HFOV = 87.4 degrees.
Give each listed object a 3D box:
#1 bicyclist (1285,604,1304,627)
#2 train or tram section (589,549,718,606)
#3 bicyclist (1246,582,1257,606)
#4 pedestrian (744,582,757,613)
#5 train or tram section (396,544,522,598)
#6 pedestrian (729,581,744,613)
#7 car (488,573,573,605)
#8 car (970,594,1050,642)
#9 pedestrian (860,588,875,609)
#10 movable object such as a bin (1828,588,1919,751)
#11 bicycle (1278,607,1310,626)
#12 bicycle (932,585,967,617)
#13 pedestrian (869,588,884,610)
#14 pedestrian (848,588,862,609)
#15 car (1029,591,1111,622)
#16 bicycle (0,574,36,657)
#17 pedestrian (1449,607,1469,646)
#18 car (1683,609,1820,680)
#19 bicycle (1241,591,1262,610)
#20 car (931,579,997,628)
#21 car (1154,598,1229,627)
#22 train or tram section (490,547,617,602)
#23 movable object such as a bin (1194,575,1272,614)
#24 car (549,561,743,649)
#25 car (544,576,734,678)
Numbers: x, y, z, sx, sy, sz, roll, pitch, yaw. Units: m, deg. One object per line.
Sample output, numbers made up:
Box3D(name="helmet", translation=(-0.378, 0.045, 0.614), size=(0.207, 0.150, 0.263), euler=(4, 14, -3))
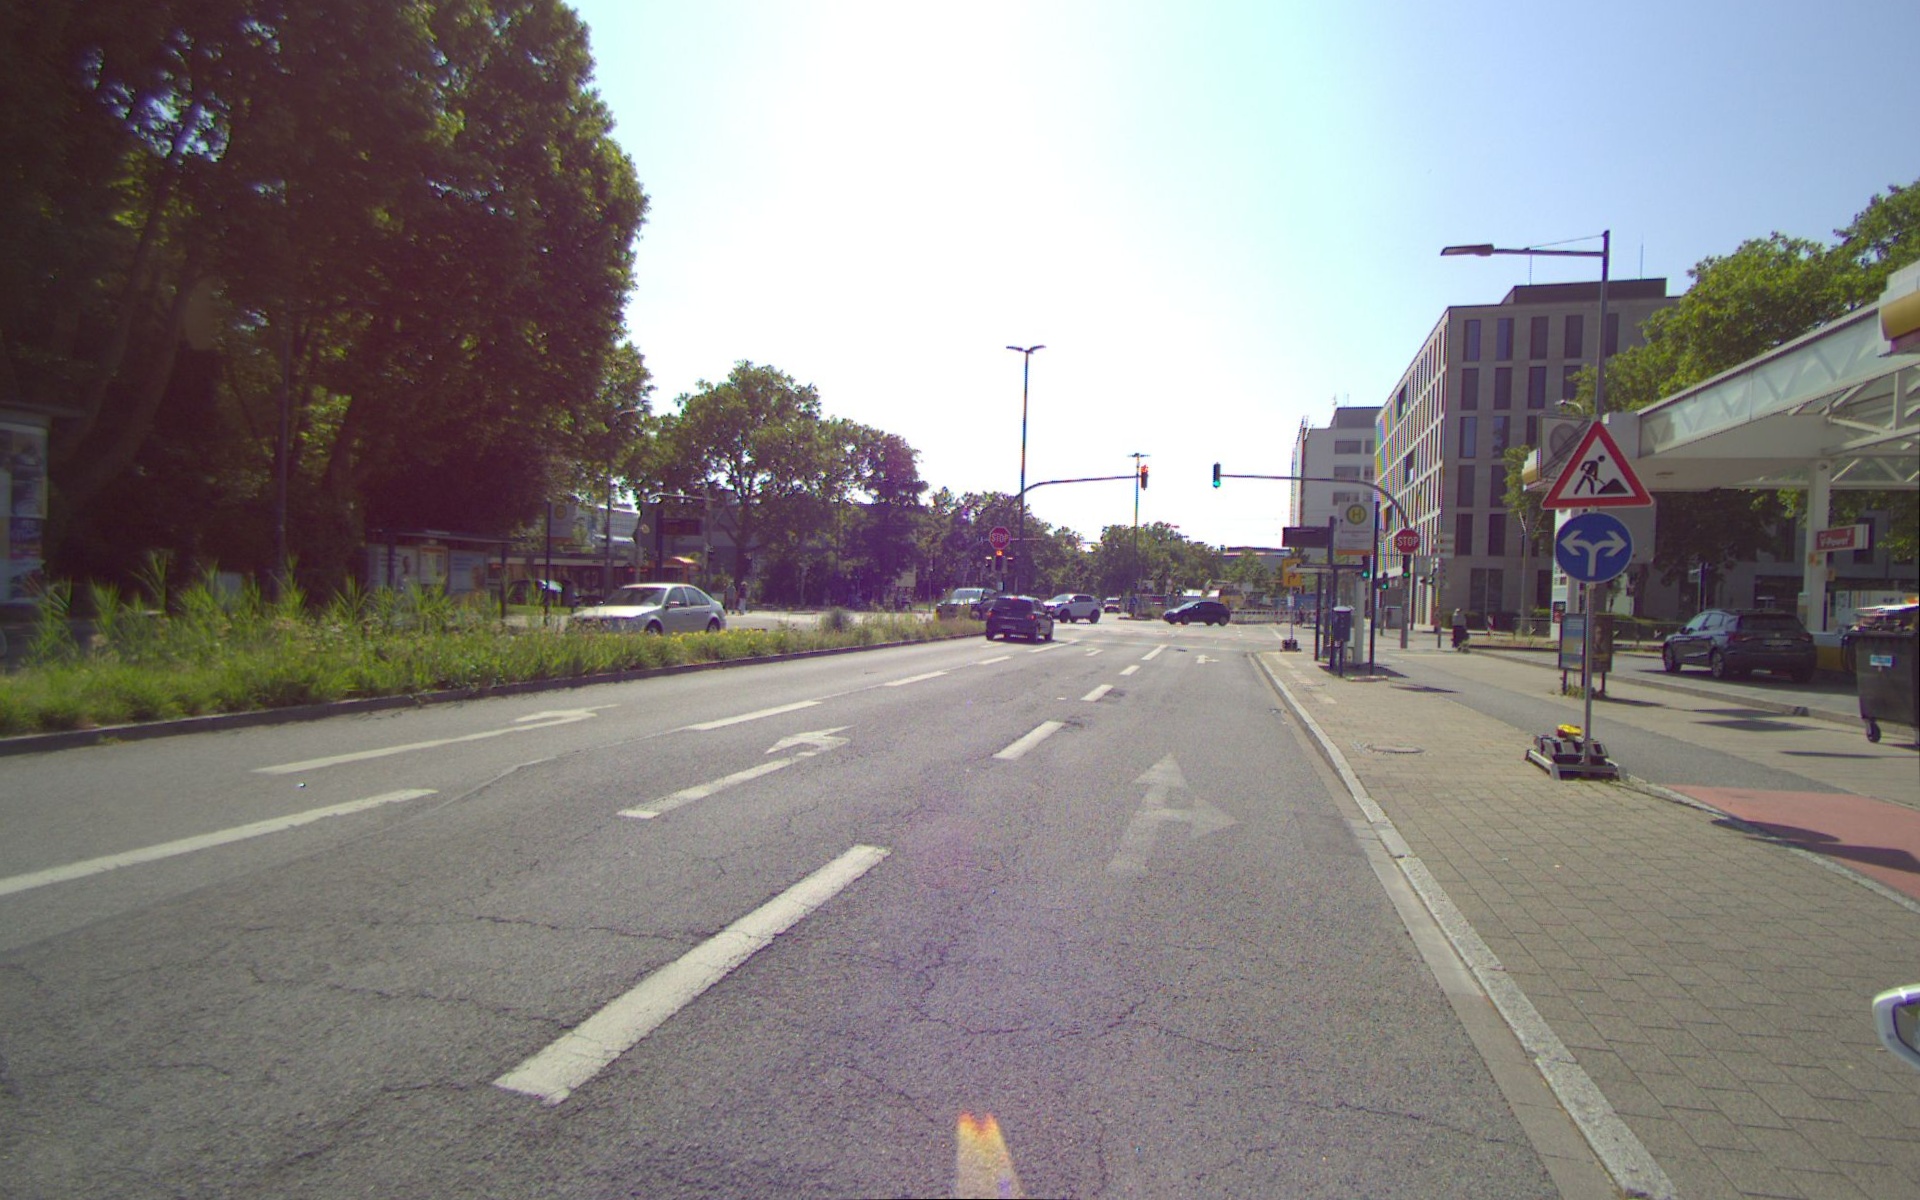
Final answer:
Box3D(name="bicyclist", translation=(25.292, 1.179, 75.932), size=(1.220, 1.696, 0.524), euler=(3, 1, 24))
Box3D(name="train or tram section", translation=(-20.018, -1.445, 65.688), size=(7.427, 3.376, 3.121), euler=(2, 0, 14))
Box3D(name="bicyclist", translation=(31.851, -0.626, 109.715), size=(1.052, 2.608, 0.827), euler=(3, 1, 21))
Box3D(name="pedestrian", translation=(-11.686, -0.138, 56.072), size=(0.557, 1.749, 0.733), euler=(2, 0, -3))
Box3D(name="train or tram section", translation=(-34.454, -1.984, 69.197), size=(7.427, 3.376, 3.121), euler=(2, 0, 14))
Box3D(name="pedestrian", translation=(-12.472, -0.157, 55.976), size=(0.648, 1.749, 0.753), euler=(2, 0, -3))
Box3D(name="car", translation=(-20.830, -0.536, 48.775), size=(3.439, 1.395, 1.638), euler=(2, 0, 13))
Box3D(name="car", translation=(1.733, 0.561, 33.494), size=(1.959, 1.417, 4.002), euler=(2, 0, 13))
Box3D(name="pedestrian", translation=(-7.273, -0.092, 79.254), size=(0.646, 1.633, 0.938), euler=(3, 1, 38))
Box3D(name="movable object such as a bin", translation=(10.283, 0.687, 10.513), size=(1.285, 1.613, 1.396), euler=(-1, 0, 12))
Box3D(name="bicycle", translation=(25.269, 1.230, 75.938), size=(2.193, 1.302, 0.524), euler=(3, 1, 24))
Box3D(name="bicycle", translation=(-0.784, 0.086, 76.038), size=(1.572, 2.299, 4.002), euler=(2, 0, 15))
Box3D(name="pedestrian", translation=(-6.507, -0.064, 78.515), size=(0.646, 1.633, 0.938), euler=(3, 1, 38))
Box3D(name="pedestrian", translation=(-8.383, -0.132, 80.135), size=(0.646, 1.633, 0.938), euler=(3, 1, 38))
Box3D(name="car", translation=(6.326, 0.399, 57.432), size=(4.836, 1.658, 1.974), euler=(2, 0, -44))
Box3D(name="bicycle", translation=(-14.078, 0.185, 14.162), size=(1.814, 1.137, 0.693), euler=(2, 1, 16))
Box3D(name="pedestrian", translation=(20.245, 1.067, 40.766), size=(0.608, 1.564, 0.462), euler=(2, 1, 14))
Box3D(name="car", translation=(17.839, 0.953, 22.817), size=(1.624, 1.417, 3.638), euler=(2, 0, 25))
Box3D(name="bicycle", translation=(31.882, 0.009, 109.706), size=(2.054, 1.988, 0.827), euler=(3, 0, 21))
Box3D(name="car", translation=(0.246, 0.150, 45.920), size=(1.959, 2.040, 4.873), euler=(2, 0, 13))
Box3D(name="car", translation=(14.470, 0.789, 62.833), size=(4.057, 1.660, 1.993), euler=(2, 0, -17))
Box3D(name="train or tram section", translation=(-27.235, -1.724, 67.435), size=(7.427, 3.376, 3.121), euler=(2, 0, 14))
Box3D(name="movable object such as a bin", translation=(35.464, -0.738, 130.616), size=(9.513, 4.611, 3.165), euler=(2, 1, 17))
Box3D(name="car", translation=(-6.506, 0.094, 21.426), size=(1.858, 1.632, 4.520), euler=(2, 0, 14))
Box3D(name="car", translation=(-6.633, 0.462, 21.338), size=(1.959, 1.661, 4.396), euler=(2, 4, 11))
